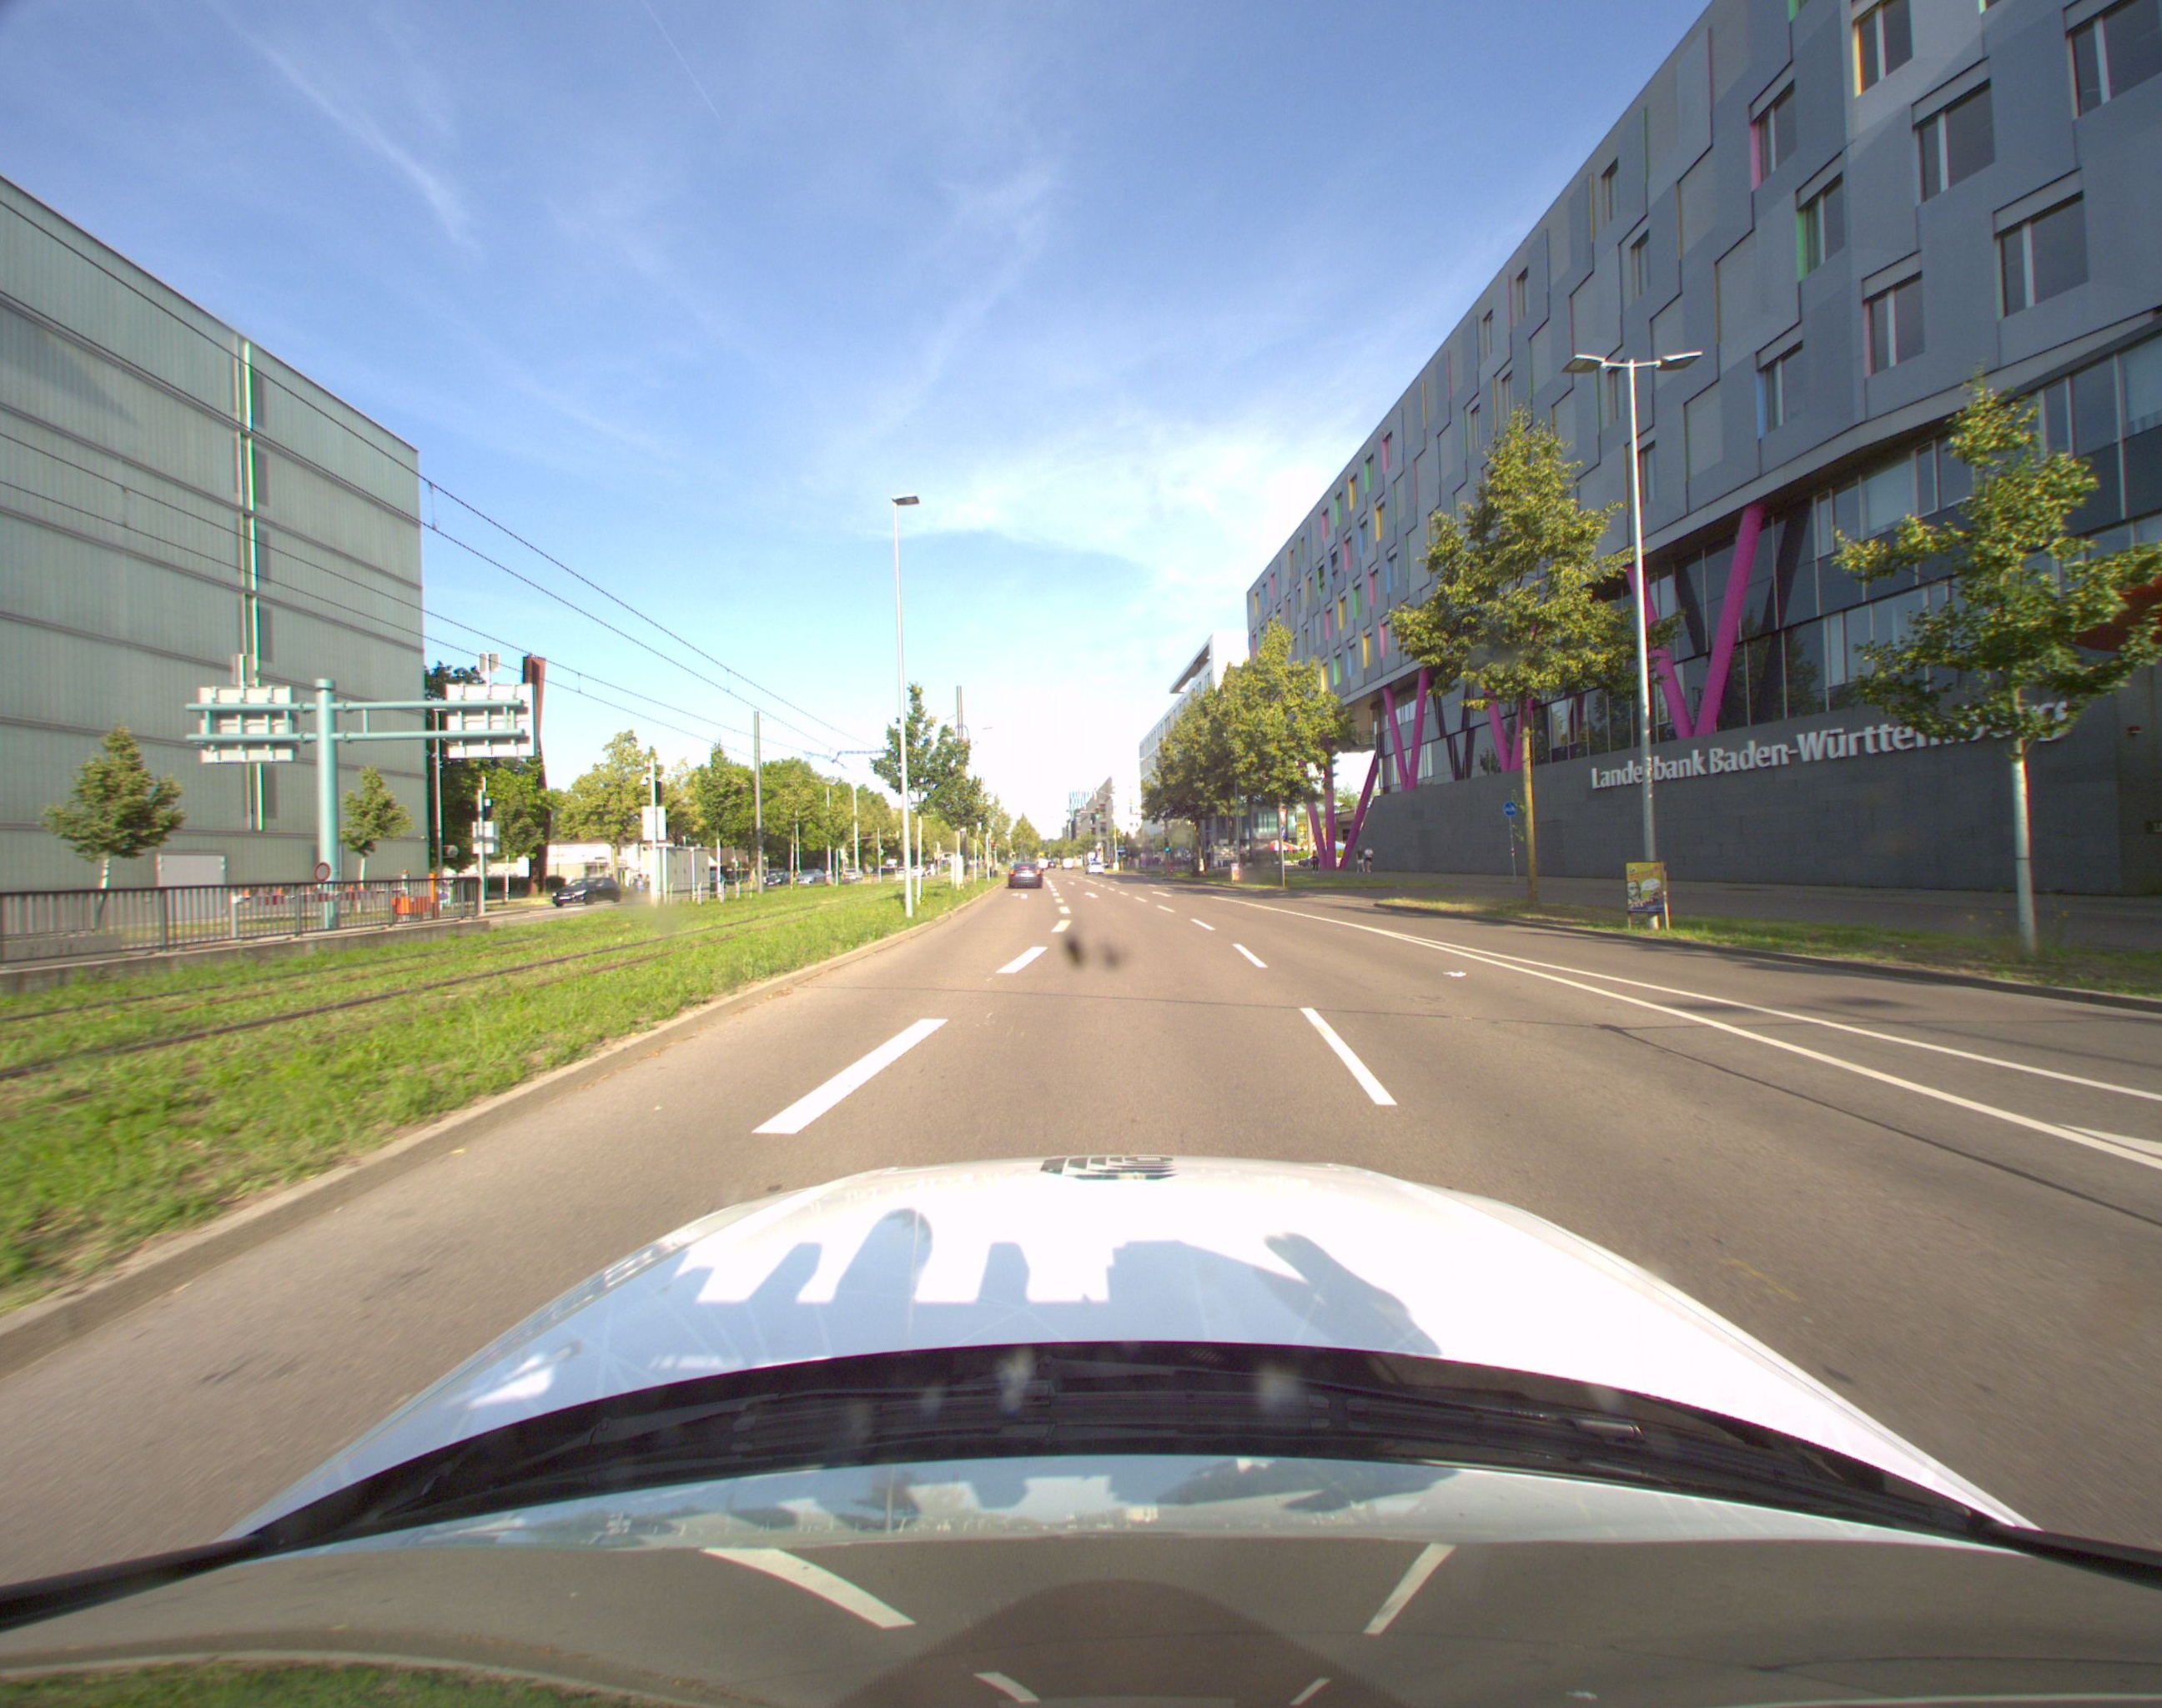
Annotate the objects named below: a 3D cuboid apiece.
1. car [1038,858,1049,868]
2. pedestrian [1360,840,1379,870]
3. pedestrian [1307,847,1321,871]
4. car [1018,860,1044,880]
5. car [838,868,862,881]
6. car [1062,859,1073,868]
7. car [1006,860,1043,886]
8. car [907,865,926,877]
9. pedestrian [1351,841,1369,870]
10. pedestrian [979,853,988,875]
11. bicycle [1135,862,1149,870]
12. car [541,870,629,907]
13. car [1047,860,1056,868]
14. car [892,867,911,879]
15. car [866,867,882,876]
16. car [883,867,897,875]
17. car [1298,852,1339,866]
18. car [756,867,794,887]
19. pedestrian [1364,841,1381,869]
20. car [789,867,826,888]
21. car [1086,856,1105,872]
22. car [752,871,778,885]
[{"bbox_3d":[-6.856,1.649,148.871,2.010,1.684,3.996,0,0,-3],"label":"car"},{"bbox_3d":[18.519,0.059,52.233,0.766,1.825,0.851,-4,-1,-4],"label":"pedestrian"},{"bbox_3d":[16.225,0.340,56.721,0.692,1.639,0.735,-4,-1,-4],"label":"pedestrian"},{"bbox_3d":[-3.631,1.126,58.719,1.760,1.330,4.393,0,0,-4],"label":"car"},{"bbox_3d":[-28.453,2.520,100.369,1.901,1.528,4.436,-2,0,-3],"label":"car"},{"bbox_3d":[-2.495,1.715,148.528,1.859,1.684,3.996,0,0,-3],"label":"car"},{"bbox_3d":[-3.082,1.009,44.789,1.886,1.386,4.329,0,0,-4],"label":"car"},{"bbox_3d":[-22.704,2.361,112.531,1.989,1.504,4.089,-1,-1,-2],"label":"car"},{"bbox_3d":[17.877,0.092,52.180,0.753,1.793,0.842,-4,-1,-4],"label":"pedestrian"},{"bbox_3d":[-7.779,0.787,64.989,0.698,1.792,0.634,0,-1,-3],"label":"pedestrian"},{"bbox_3d":[8.523,1.687,114.234,1.855,1.032,0.778,-3,-1,43],"label":"bicycle"},{"bbox_3d":[-26.357,1.794,43.514,1.989,1.687,4.720,-2,0,-4],"label":"car"},{"bbox_3d":[-6.136,2.004,170.430,1.919,1.684,3.996,0,0,-3],"label":"car"},{"bbox_3d":[-26.304,2.802,119.647,1.990,1.528,4.306,-2,0,-4],"label":"car"},{"bbox_3d":[-42.257,3.558,166.326,1.874,1.559,4.002,-2,-1,2],"label":"car"},{"bbox_3d":[-41.901,3.693,178.839,1.874,1.559,4.002,-2,-1,2],"label":"car"},{"bbox_3d":[27.383,0.564,94.005,4.176,1.424,1.856,-2,0,-4],"label":"car"},{"bbox_3d":[-28.396,2.141,75.771,1.989,1.687,4.610,-2,0,-4],"label":"car"},{"bbox_3d":[18.715,0.065,52.353,0.655,1.793,0.785,-4,-1,-4],"label":"pedestrian"},{"bbox_3d":[-24.520,2.085,73.237,1.991,1.527,4.903,-5,0,-5],"label":"car"},{"bbox_3d":[1.619,1.115,91.274,1.859,1.684,3.996,0,0,-3],"label":"car"},{"bbox_3d":[-43.789,3.306,112.873,1.874,1.750,4.002,-2,-1,2],"label":"car"}]
